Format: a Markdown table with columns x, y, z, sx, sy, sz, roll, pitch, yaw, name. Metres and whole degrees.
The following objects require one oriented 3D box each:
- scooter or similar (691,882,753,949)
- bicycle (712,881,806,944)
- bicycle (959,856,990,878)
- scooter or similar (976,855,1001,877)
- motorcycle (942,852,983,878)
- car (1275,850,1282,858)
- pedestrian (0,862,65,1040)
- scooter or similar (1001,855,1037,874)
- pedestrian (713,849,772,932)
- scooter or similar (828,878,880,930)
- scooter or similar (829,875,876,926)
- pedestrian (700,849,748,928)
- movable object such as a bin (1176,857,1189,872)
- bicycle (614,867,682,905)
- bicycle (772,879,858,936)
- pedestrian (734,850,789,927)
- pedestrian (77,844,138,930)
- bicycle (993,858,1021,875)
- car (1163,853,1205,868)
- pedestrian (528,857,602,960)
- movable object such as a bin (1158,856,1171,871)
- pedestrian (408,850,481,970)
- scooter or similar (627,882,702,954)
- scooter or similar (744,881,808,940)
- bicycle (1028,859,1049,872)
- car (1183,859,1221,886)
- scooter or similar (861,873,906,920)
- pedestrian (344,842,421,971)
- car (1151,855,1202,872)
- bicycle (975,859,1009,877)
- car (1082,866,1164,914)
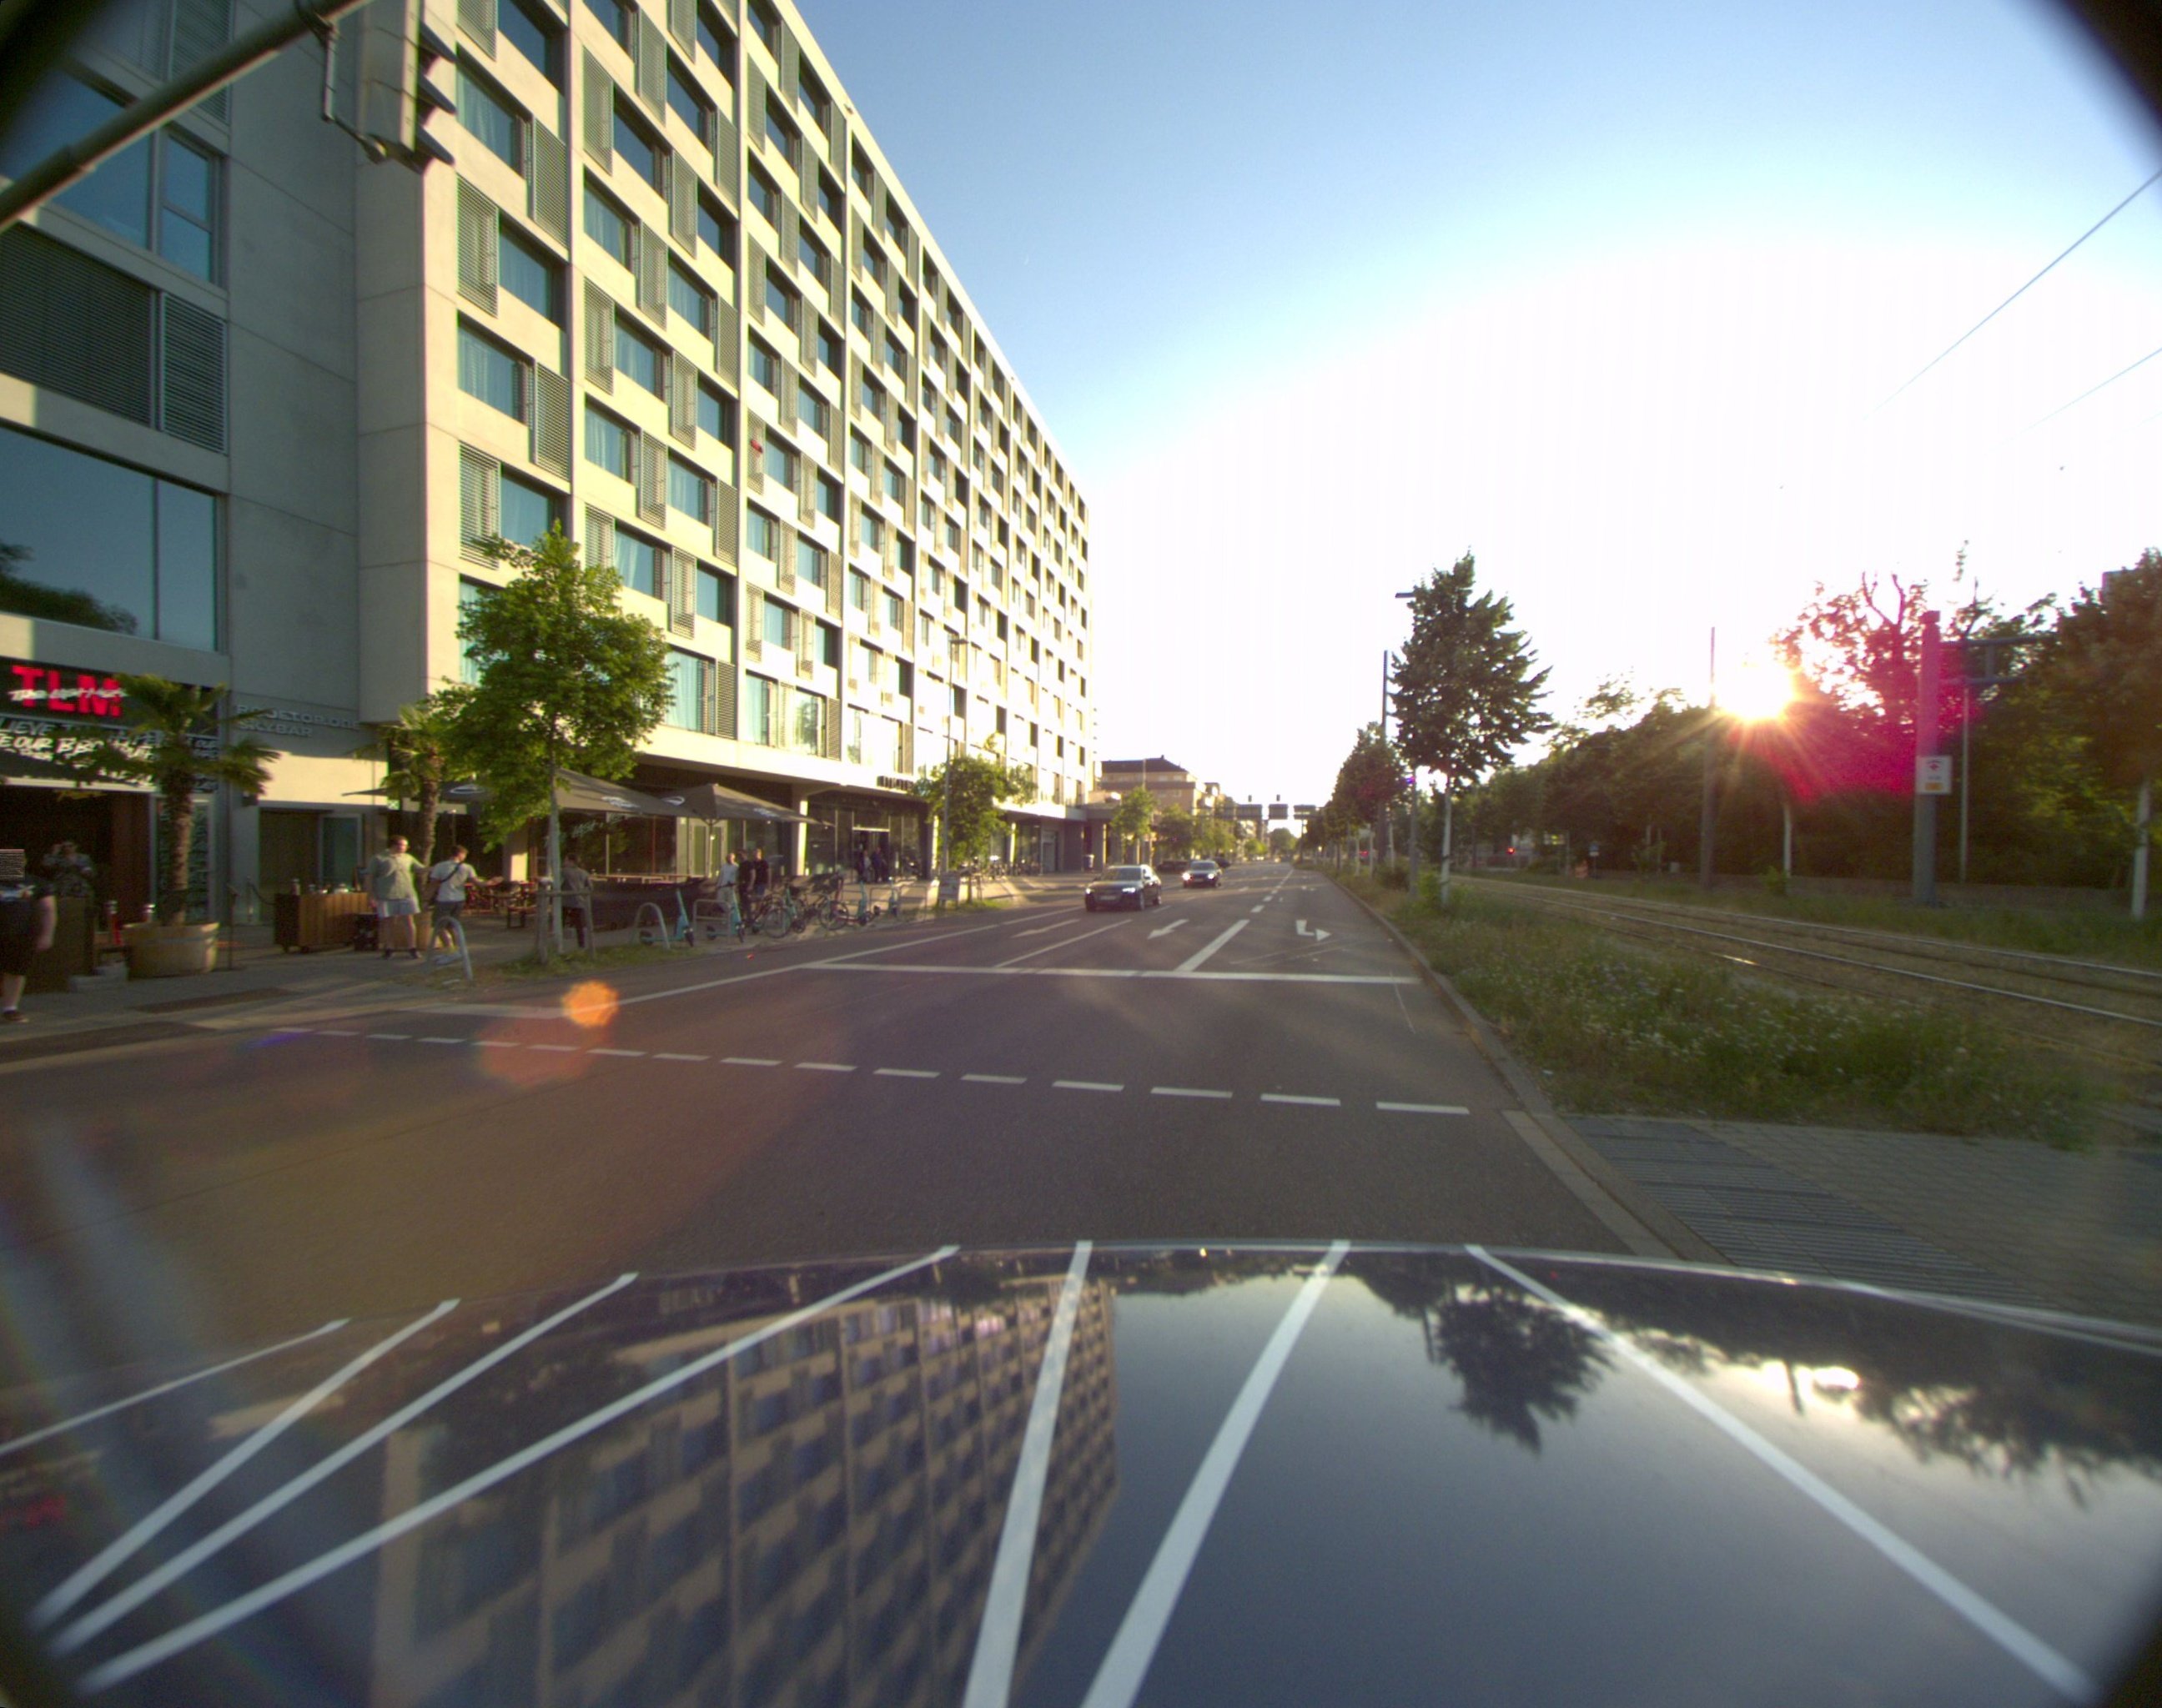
| x | y | z | sx | sy | sz | roll | pitch | yaw | name |
| --- | --- | --- | --- | --- | --- | --- | --- | --- | --- |
| -7.183 | 1.208 | 15.212 | 1.062 | 1.216 | 0.550 | 3 | 2 | 25 | scooter or similar |
| -6.906 | 1.238 | 16.305 | 1.796 | 1.187 | 0.568 | 3 | 1 | 11 | bicycle |
| -6.056 | 0.751 | 43.118 | 1.610 | 1.148 | 0.612 | 2 | 1 | 4 | bicycle |
| -5.433 | 0.712 | 44.508 | 1.269 | 1.226 | 0.609 | 2 | 1 | 12 | scooter or similar |
| -6.621 | 0.629 | 42.340 | 2.116 | 1.378 | 0.672 | 2 | 0 | 2 | motorcycle |
| 53.101 | 0.028 | 204.400 | 1.725 | 1.909 | 4.298 | -2 | 0 | 12 | car |
| -10.763 | 0.946 | 7.498 | 0.688 | 1.692 | 0.656 | 3 | 1 | 15 | pedestrian |
| -4.267 | 0.725 | 52.050 | 2.375 | 1.176 | 0.621 | 2 | 1 | 15 | scooter or similar |
| -7.920 | 0.827 | 17.802 | 0.744 | 1.838 | 0.942 | 4 | 2 | 25 | pedestrian |
| -5.711 | 1.248 | 19.140 | 1.157 | 1.185 | 0.510 | 3 | 3 | 18 | scooter or similar |
| -5.997 | 1.211 | 19.952 | 1.128 | 1.207 | 0.533 | 3 | 3 | 31 | scooter or similar |
| -8.508 | 0.810 | 18.120 | 0.619 | 1.801 | 0.778 | 4 | 2 | 25 | pedestrian |
| 9.389 | 0.938 | 70.004 | 1.086 | 1.294 | 1.362 | 3 | 1 | 9 | movable object such as a bin |
| -12.145 | 0.883 | 21.298 | 1.702 | 0.980 | 0.551 | 2 | 1 | 13 | bicycle |
| -6.239 | 1.243 | 17.837 | 1.848 | 1.175 | 0.609 | 3 | 1 | 15 | bicycle |
| -7.876 | 0.824 | 18.766 | 0.756 | 1.814 | 0.942 | 3 | 2 | 25 | pedestrian |
| -18.434 | 0.615 | 14.391 | 0.451 | 1.591 | 0.558 | -1 | 0 | 18 | pedestrian |
| -4.742 | 0.778 | 48.634 | 1.702 | 0.980 | 0.551 | 3 | 1 | 13 | bicycle |
| 11.009 | 0.681 | 81.293 | 3.996 | 1.408 | 1.747 | 2 | 1 | -22 | car |
| -8.759 | 0.904 | 12.919 | 0.855 | 1.694 | 0.578 | 2 | 1 | 7 | pedestrian |
| 7.754 | 0.893 | 70.427 | 1.015 | 1.339 | 1.162 | 3 | 1 | 11 | movable object such as a bin |
| -9.912 | 0.850 | 11.865 | 0.578 | 1.776 | 0.827 | 1 | 2 | -16 | pedestrian |
| -7.751 | 1.173 | 14.147 | 1.053 | 1.216 | 0.599 | 3 | 1 | 12 | scooter or similar |
| -6.718 | 1.231 | 16.759 | 1.211 | 1.194 | 0.480 | 3 | 1 | 12 | scooter or similar |
| -3.093 | 0.836 | 55.130 | 1.423 | 0.886 | 0.457 | 1 | 1 | 15 | bicycle |
| 6.847 | 1.015 | 42.752 | 1.861 | 1.387 | 4.281 | -2 | 0 | 12 | car |
| -5.558 | 1.179 | 21.374 | 1.292 | 1.211 | 0.537 | 4 | 2 | 40 | scooter or similar |
| -10.763 | 0.772 | 11.732 | 0.829 | 1.878 | 0.863 | 0 | 3 | -42 | pedestrian |
| 9.489 | 0.917 | 75.424 | 4.675 | 1.500 | 1.935 | 2 | 1 | -24 | car |
| -5.397 | 0.823 | 46.020 | 1.887 | 1.004 | 0.566 | 3 | 1 | 14 | bicycle |
| 1.512 | 1.137 | 25.336 | 1.913 | 1.387 | 4.281 | -2 | 0 | 14 | car |
